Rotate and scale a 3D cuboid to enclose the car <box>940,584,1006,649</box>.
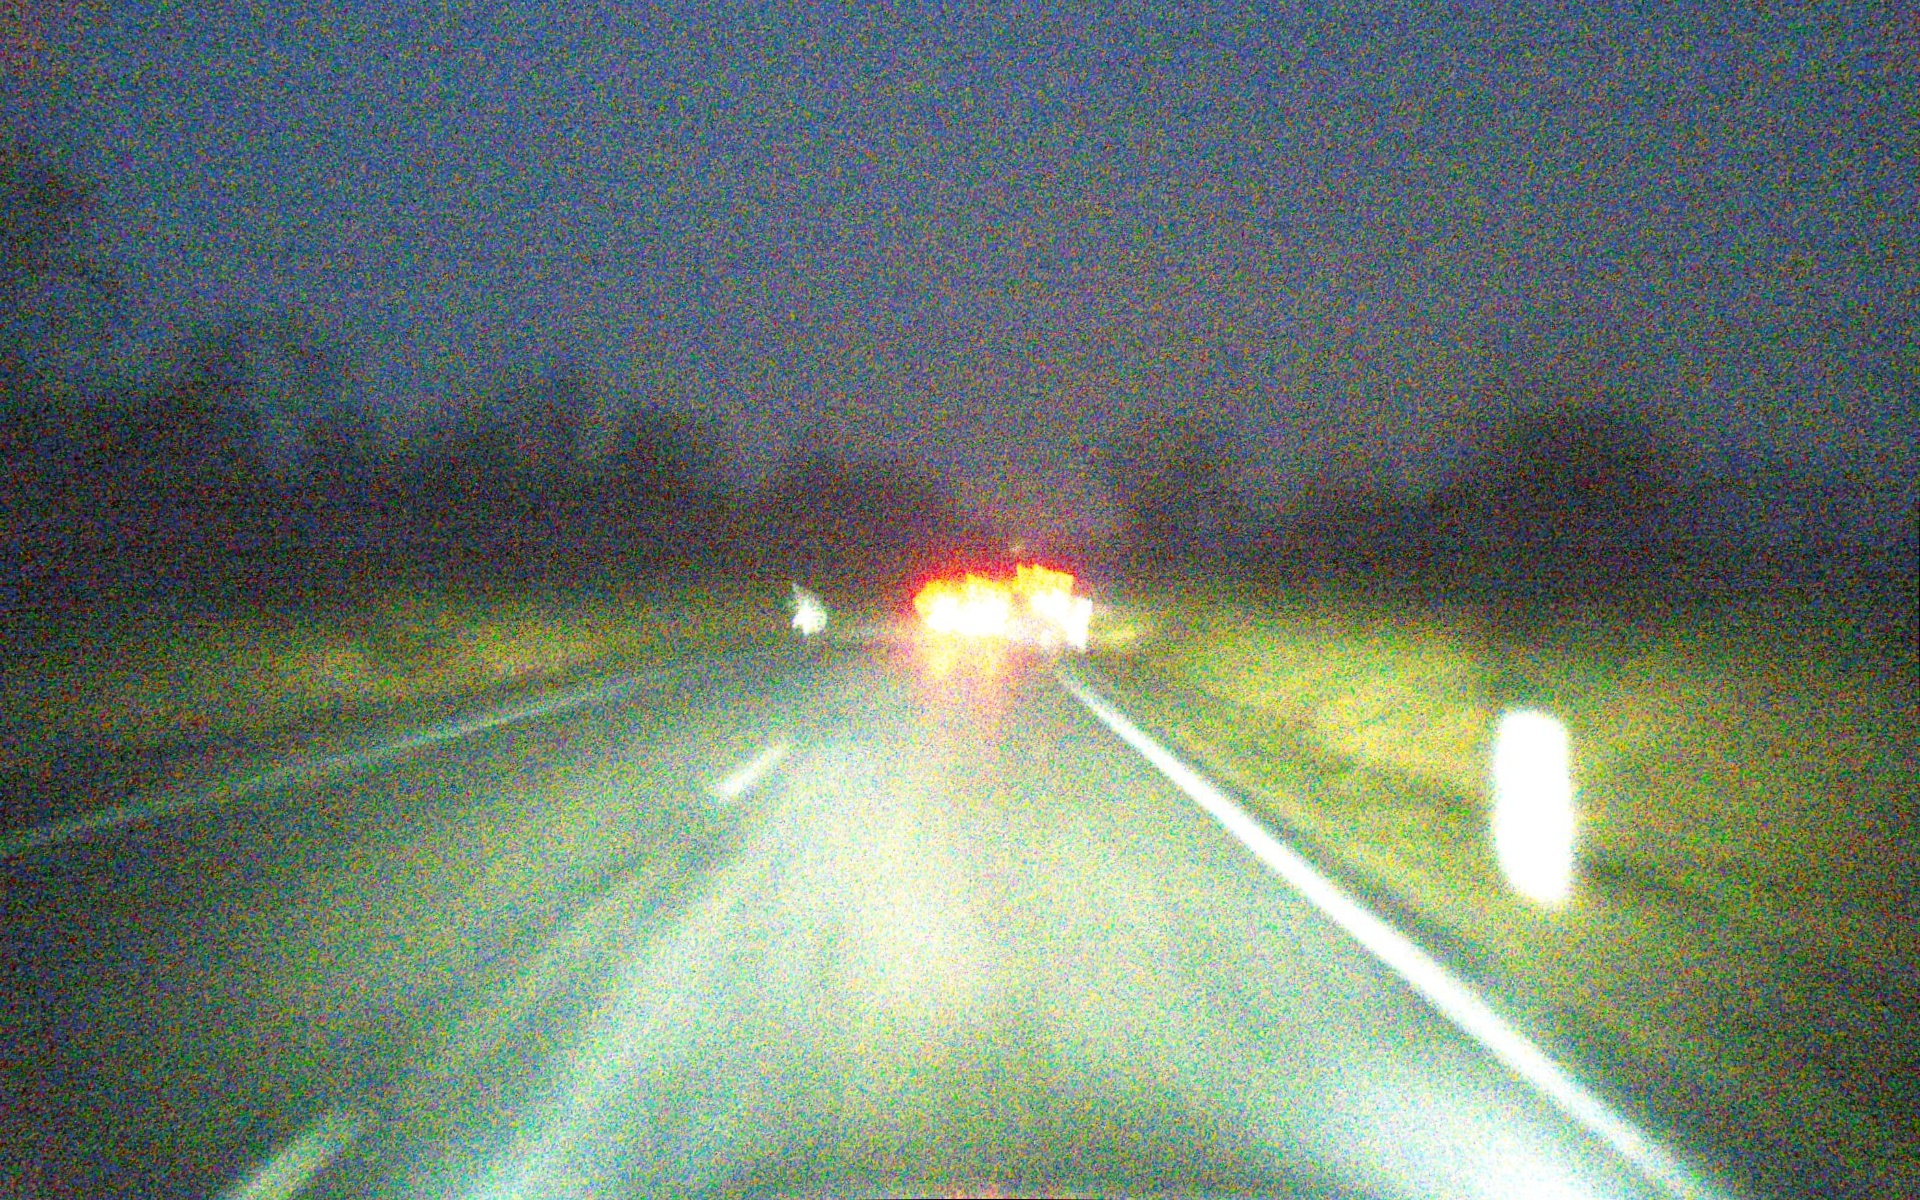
[{"bbox_3d":[0.353,0.428,47.230,1.805,1.771,4.000,0,0,0],"label":"car"}]
